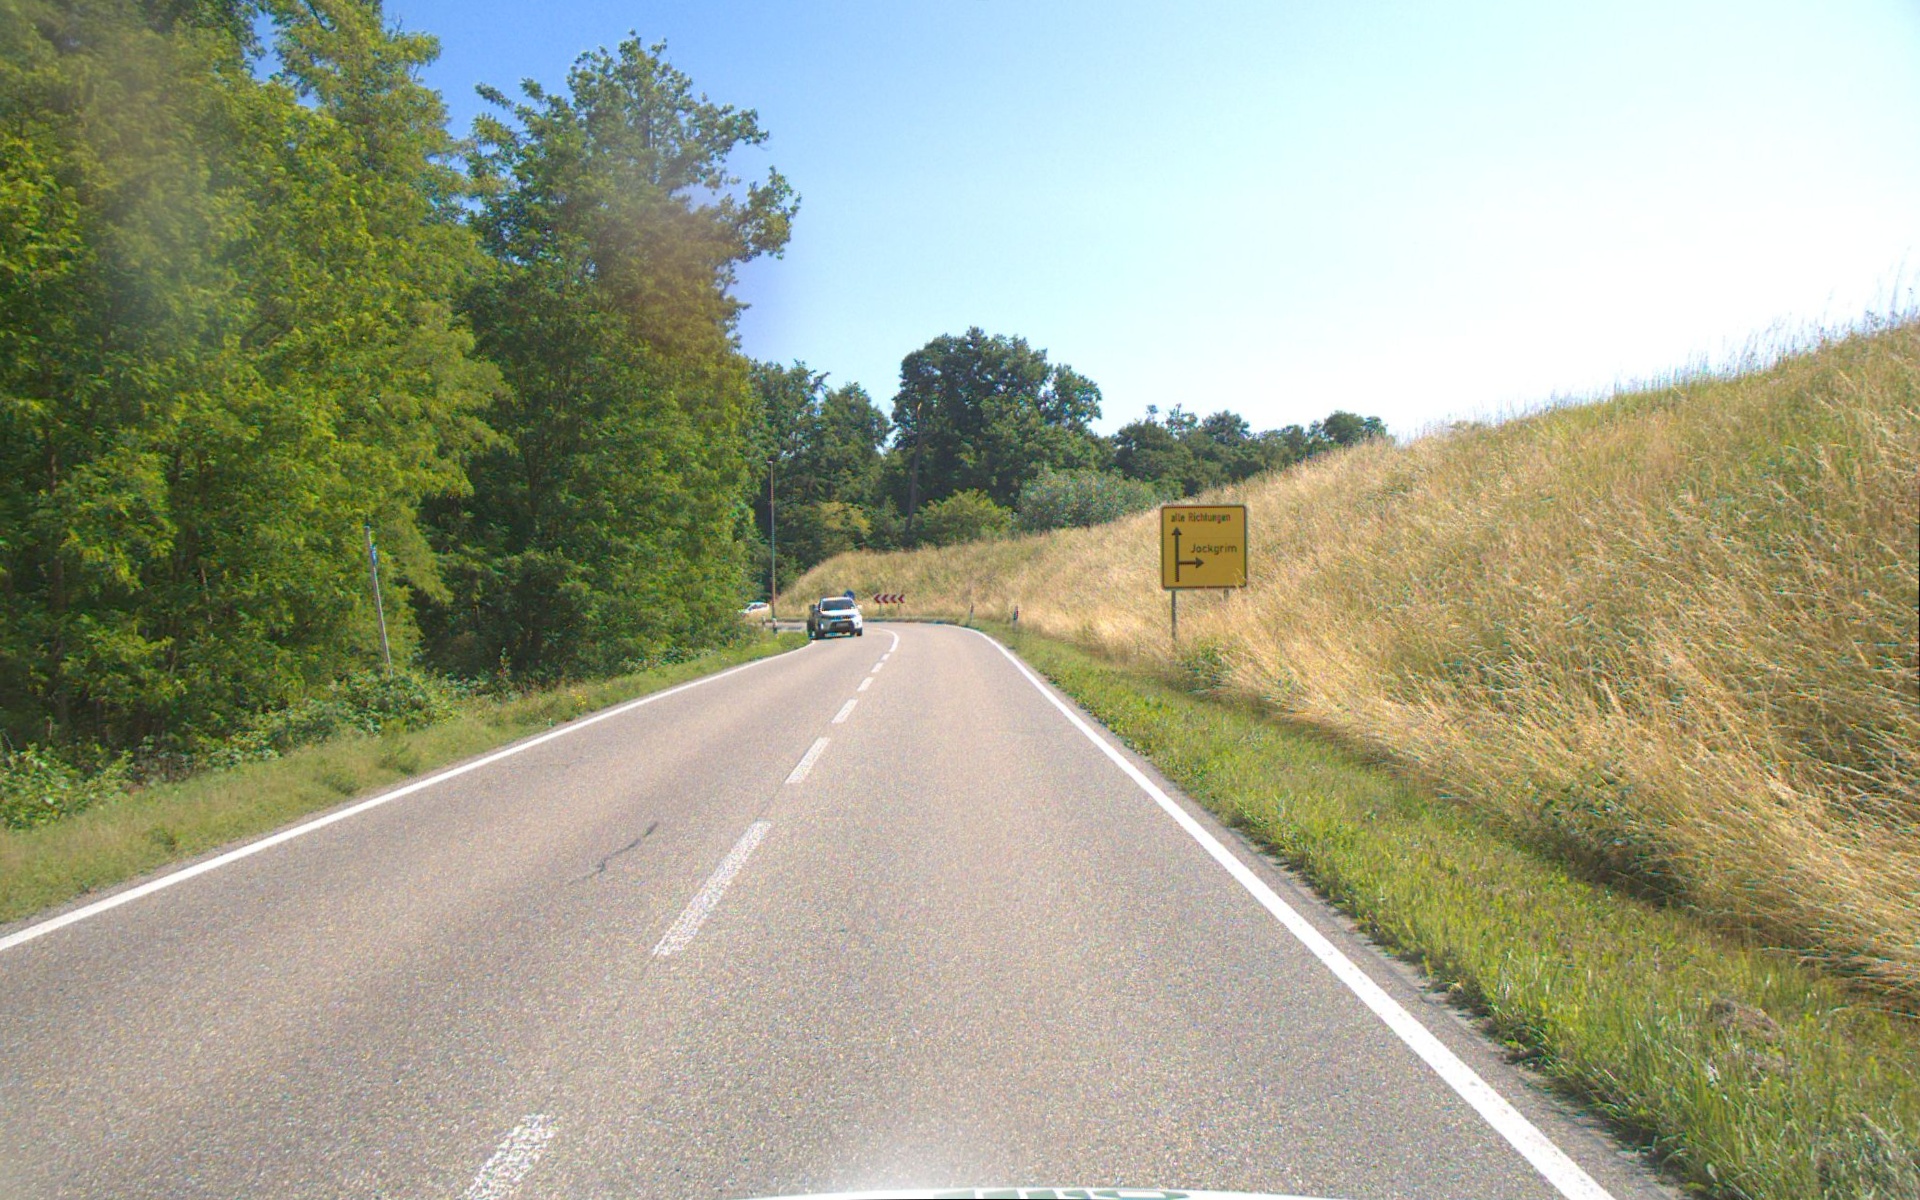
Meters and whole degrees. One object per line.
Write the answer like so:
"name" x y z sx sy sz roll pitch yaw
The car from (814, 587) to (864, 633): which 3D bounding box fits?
"car" -4.906 0.394 67.449 1.773 1.706 3.999 -3 0 -1
